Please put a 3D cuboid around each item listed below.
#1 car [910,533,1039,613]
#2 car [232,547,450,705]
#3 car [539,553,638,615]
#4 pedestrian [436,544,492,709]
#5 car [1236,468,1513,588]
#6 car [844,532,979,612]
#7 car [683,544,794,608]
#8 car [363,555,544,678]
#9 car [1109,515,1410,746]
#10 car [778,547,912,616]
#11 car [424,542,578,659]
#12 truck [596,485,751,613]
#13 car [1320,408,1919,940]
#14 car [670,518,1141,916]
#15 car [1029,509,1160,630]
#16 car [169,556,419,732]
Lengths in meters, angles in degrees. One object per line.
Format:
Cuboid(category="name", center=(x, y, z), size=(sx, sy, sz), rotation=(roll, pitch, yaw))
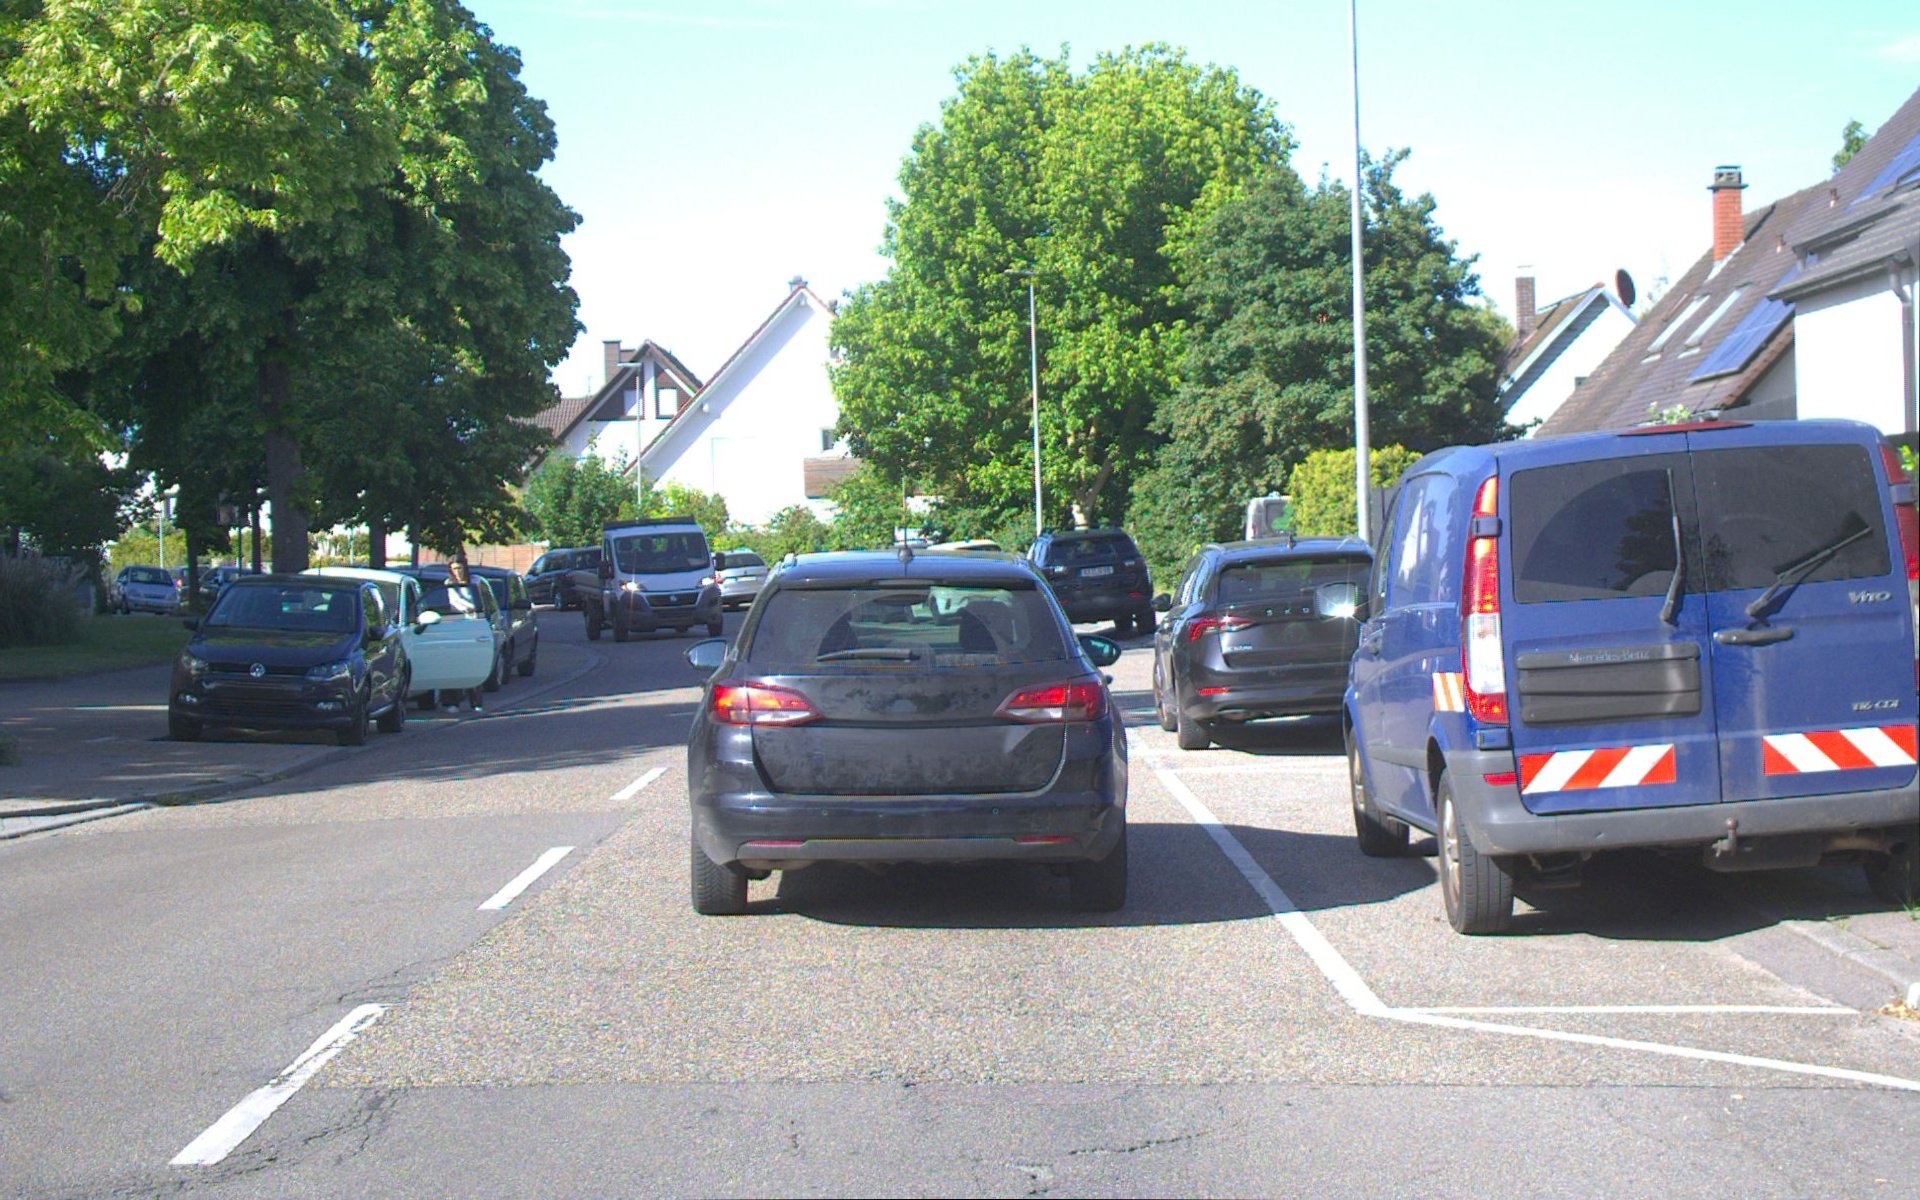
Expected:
Cuboid(category="car", center=(0.246, -0.523, 68.330), size=(1.760, 1.475, 4.295), rotation=(-2, 0, -10))
Cuboid(category="car", center=(-6.547, 0.284, 36.721), size=(1.700, 1.518, 4.052), rotation=(-3, -1, -2))
Cuboid(category="car", center=(-10.564, -0.436, 97.587), size=(1.902, 1.660, 4.192), rotation=(-2, 0, -19))
Cuboid(category="pedestrian", center=(-5.363, 0.289, 37.193), size=(0.504, 1.755, 0.695), rotation=(-2, -1, -4))
Cuboid(category="car", center=(7.437, -1.290, 62.019), size=(4.680, 1.977, 2.143), rotation=(-2, 0, 0))
Cuboid(category="car", center=(-1.062, -0.584, 72.961), size=(1.911, 1.595, 4.295), rotation=(-2, 0, -14))
Cuboid(category="car", center=(-5.641, -0.594, 87.122), size=(1.819, 1.529, 4.260), rotation=(-2, 0, -17))
Cuboid(category="car", center=(-6.483, 0.185, 44.363), size=(1.657, 1.505, 4.000), rotation=(-1, 0, 1))
Cuboid(category="car", center=(2.117, 0.147, 25.538), size=(1.765, 1.475, 4.992), rotation=(-2, 1, 0))
Cuboid(category="car", center=(-2.652, -0.399, 78.167), size=(2.005, 1.470, 4.295), rotation=(-2, 0, -16))
Cuboid(category="car", center=(-6.506, -0.025, 49.076), size=(1.567, 1.525, 3.918), rotation=(3, 1, 1))
Cuboid(category="truck", center=(-5.560, -0.995, 67.554), size=(2.130, 2.326, 6.442), rotation=(-2, 1, 3))
Cuboid(category="car", center=(2.712, 0.232, 14.768), size=(1.836, 1.901, 4.698), rotation=(-1, 1, 0))
Cuboid(category="car", center=(-0.221, 0.430, 15.073), size=(1.761, 1.486, 4.291), rotation=(0, 0, 0))
Cuboid(category="car", center=(2.013, -0.457, 52.493), size=(1.778, 1.718, 4.294), rotation=(-2, 0, 0))
Cuboid(category="car", center=(-5.962, 0.399, 31.168), size=(1.700, 1.475, 4.052), rotation=(1, -1, -4))
